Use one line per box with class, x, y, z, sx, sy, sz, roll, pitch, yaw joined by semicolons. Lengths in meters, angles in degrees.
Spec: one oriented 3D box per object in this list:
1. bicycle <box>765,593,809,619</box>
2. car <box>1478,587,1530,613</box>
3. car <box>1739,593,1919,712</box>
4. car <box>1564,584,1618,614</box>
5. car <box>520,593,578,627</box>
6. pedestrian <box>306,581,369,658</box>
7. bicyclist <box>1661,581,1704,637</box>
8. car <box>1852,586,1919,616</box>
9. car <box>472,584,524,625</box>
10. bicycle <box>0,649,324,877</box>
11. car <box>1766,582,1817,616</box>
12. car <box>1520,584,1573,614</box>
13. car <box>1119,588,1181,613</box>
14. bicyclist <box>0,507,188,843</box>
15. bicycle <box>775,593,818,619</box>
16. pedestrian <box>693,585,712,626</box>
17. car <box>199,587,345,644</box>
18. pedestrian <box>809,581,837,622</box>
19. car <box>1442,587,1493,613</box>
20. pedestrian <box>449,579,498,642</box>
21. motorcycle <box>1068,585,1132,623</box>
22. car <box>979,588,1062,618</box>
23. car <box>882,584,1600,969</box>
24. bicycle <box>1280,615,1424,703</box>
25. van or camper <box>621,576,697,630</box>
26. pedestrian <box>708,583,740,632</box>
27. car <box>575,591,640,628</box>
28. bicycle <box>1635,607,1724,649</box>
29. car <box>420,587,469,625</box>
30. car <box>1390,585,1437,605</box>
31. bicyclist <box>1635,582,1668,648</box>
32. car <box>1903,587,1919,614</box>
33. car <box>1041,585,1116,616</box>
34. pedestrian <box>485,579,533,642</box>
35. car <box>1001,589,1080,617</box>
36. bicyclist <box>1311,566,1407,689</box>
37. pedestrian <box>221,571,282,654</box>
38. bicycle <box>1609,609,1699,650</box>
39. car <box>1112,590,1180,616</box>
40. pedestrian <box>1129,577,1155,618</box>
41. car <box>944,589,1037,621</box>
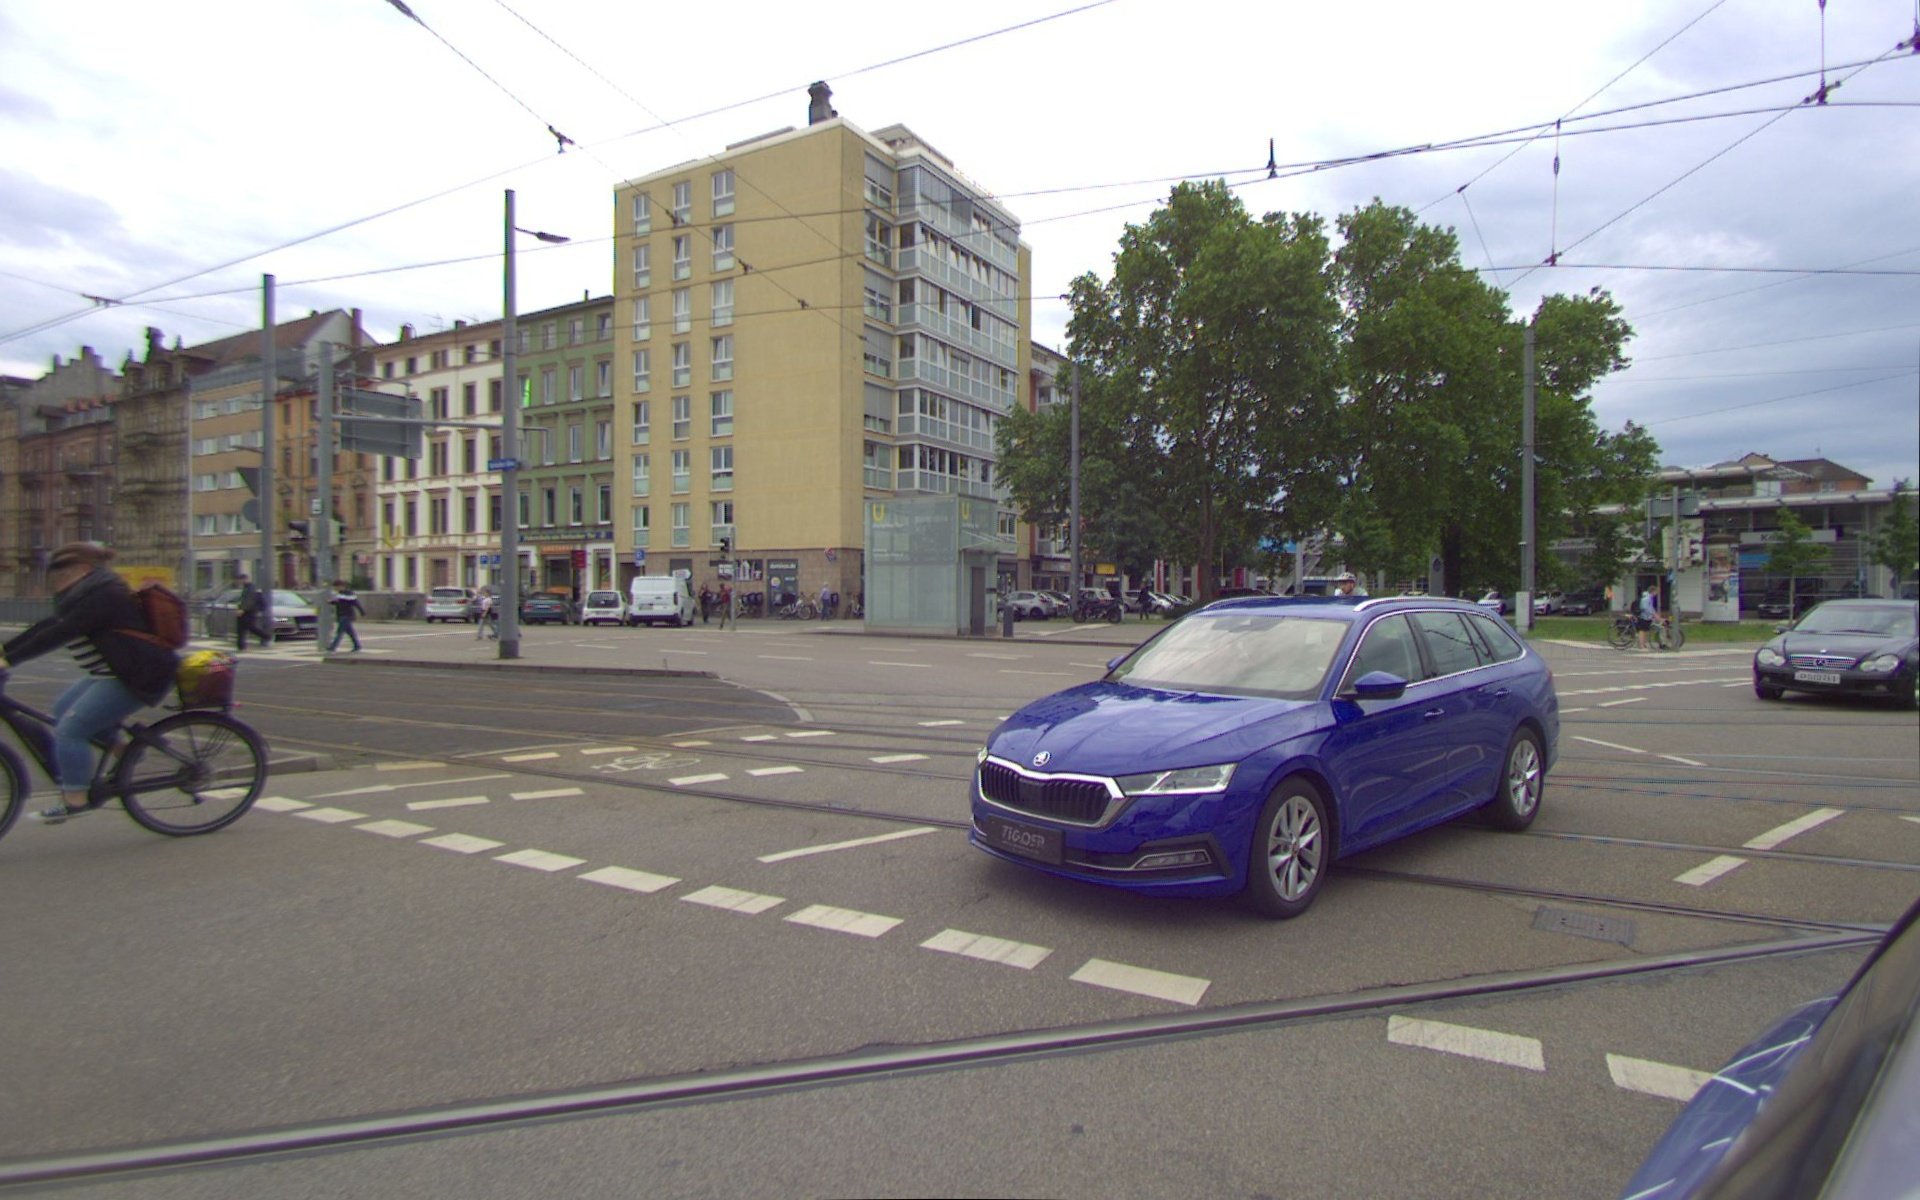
bicycle;-7.958;0.264;46.544;2.021;1.183;0.663;0;0;29
car;40.582;-0.001;75.482;4.158;1.483;1.955;-8;5;-39
car;12.856;0.626;14.254;4.338;1.387;1.771;-1;1;-35
car;44.527;-0.095;71.353;4.161;1.472;1.955;-11;7;-39
car;-17.256;0.405;42.669;1.645;1.320;3.745;-1;1;-12
pedestrian;-13.776;0.415;22.423;0.771;1.664;0.902;-1;0;8
bicyclist;20.313;0.238;28.457;0.883;1.541;0.661;-1;0;43
car;54.160;0.047;59.161;1.937;1.544;4.193;-1;2;26
car;-20.028;0.173;44.032;1.852;1.602;3.745;4;-1;-23
bicycle;-4.790;0.868;5.607;2.087;1.068;0.626;-1;0;-38
car;51.359;-0.080;62.479;1.951;1.662;4.603;-1;5;45
car;42.520;-0.103;73.368;4.160;1.615;1.955;-9;6;-39
car;13.176;0.021;70.167;3.955;1.634;1.984;0;1;24
bicyclist;-4.792;0.378;5.628;0.791;1.712;0.617;0;0;-38
bicycle;-7.607;0.256;47.138;2.021;1.183;0.663;0;0;29
pedestrian;-11.149;0.227;43.830;0.605;1.737;0.825;0;1;-30
car;-19.673;0.414;28.901;4.414;1.504;1.976;0;1;34
pedestrian;-6.056;0.056;44.716;0.898;1.759;0.805;0;0;29
car;39.002;-0.021;77.716;4.159;1.530;1.955;-9;6;-39
pedestrian;-12.887;0.268;26.804;0.756;1.632;0.949;-1;0;8
motorcycle;5.362;0.139;38.732;2.266;1.383;1.039;0;1;23
car;3.178;0.155;53.044;3.956;1.482;1.984;-1;0;24
car;1.960;0.656;6.069;4.671;1.454;1.769;-1;1;-39
bicycle;5.407;0.780;13.925;1.977;1.093;0.764;-1;-1;-31
van or camper;-11.991;0.078;40.665;2.128;2.003;5.475;0;1;-8
pedestrian;-8.644;0.271;37.105;0.775;1.779;1.046;0;1;9
car;-14.620;0.349;42.153;1.701;1.435;3.742;-1;1;-6
bicycle;20.140;0.772;28.356;1.940;1.010;0.592;5;4;43
car;-23.060;0.233;45.368;1.700;1.607;3.745;-1;1;-23
car;36.793;-0.403;82.137;1.416;1.530;3.119;-6;4;-38
bicyclist;18.903;0.391;27.649;0.730;1.773;0.578;0;0;36
car;56.330;0.032;58.049;1.768;1.580;4.010;-1;0;19
car;6.904;0.016;59.048;3.955;1.745;1.984;0;0;23
pedestrian;-11.844;0.259;26.582;0.771;1.622;0.895;-1;0;8
car;4.397;0.139;55.329;3.953;1.460;1.985;0;1;22
bicyclist;5.512;0.368;14.000;0.915;1.639;0.791;-1;-1;-31
pedestrian;-16.829;0.286;24.049;0.771;1.936;0.902;-1;0;8
bicycle;18.925;0.789;27.628;1.981;1.010;0.572;2;2;36
car;12.038;0.143;65.475;3.955;1.634;1.984;0;1;24
pedestrian;8.352;-0.115;46.514;0.862;1.842;0.886;0;0;39
car;1.451;0.223;48.409;4.132;1.461;1.822;0;1;31
